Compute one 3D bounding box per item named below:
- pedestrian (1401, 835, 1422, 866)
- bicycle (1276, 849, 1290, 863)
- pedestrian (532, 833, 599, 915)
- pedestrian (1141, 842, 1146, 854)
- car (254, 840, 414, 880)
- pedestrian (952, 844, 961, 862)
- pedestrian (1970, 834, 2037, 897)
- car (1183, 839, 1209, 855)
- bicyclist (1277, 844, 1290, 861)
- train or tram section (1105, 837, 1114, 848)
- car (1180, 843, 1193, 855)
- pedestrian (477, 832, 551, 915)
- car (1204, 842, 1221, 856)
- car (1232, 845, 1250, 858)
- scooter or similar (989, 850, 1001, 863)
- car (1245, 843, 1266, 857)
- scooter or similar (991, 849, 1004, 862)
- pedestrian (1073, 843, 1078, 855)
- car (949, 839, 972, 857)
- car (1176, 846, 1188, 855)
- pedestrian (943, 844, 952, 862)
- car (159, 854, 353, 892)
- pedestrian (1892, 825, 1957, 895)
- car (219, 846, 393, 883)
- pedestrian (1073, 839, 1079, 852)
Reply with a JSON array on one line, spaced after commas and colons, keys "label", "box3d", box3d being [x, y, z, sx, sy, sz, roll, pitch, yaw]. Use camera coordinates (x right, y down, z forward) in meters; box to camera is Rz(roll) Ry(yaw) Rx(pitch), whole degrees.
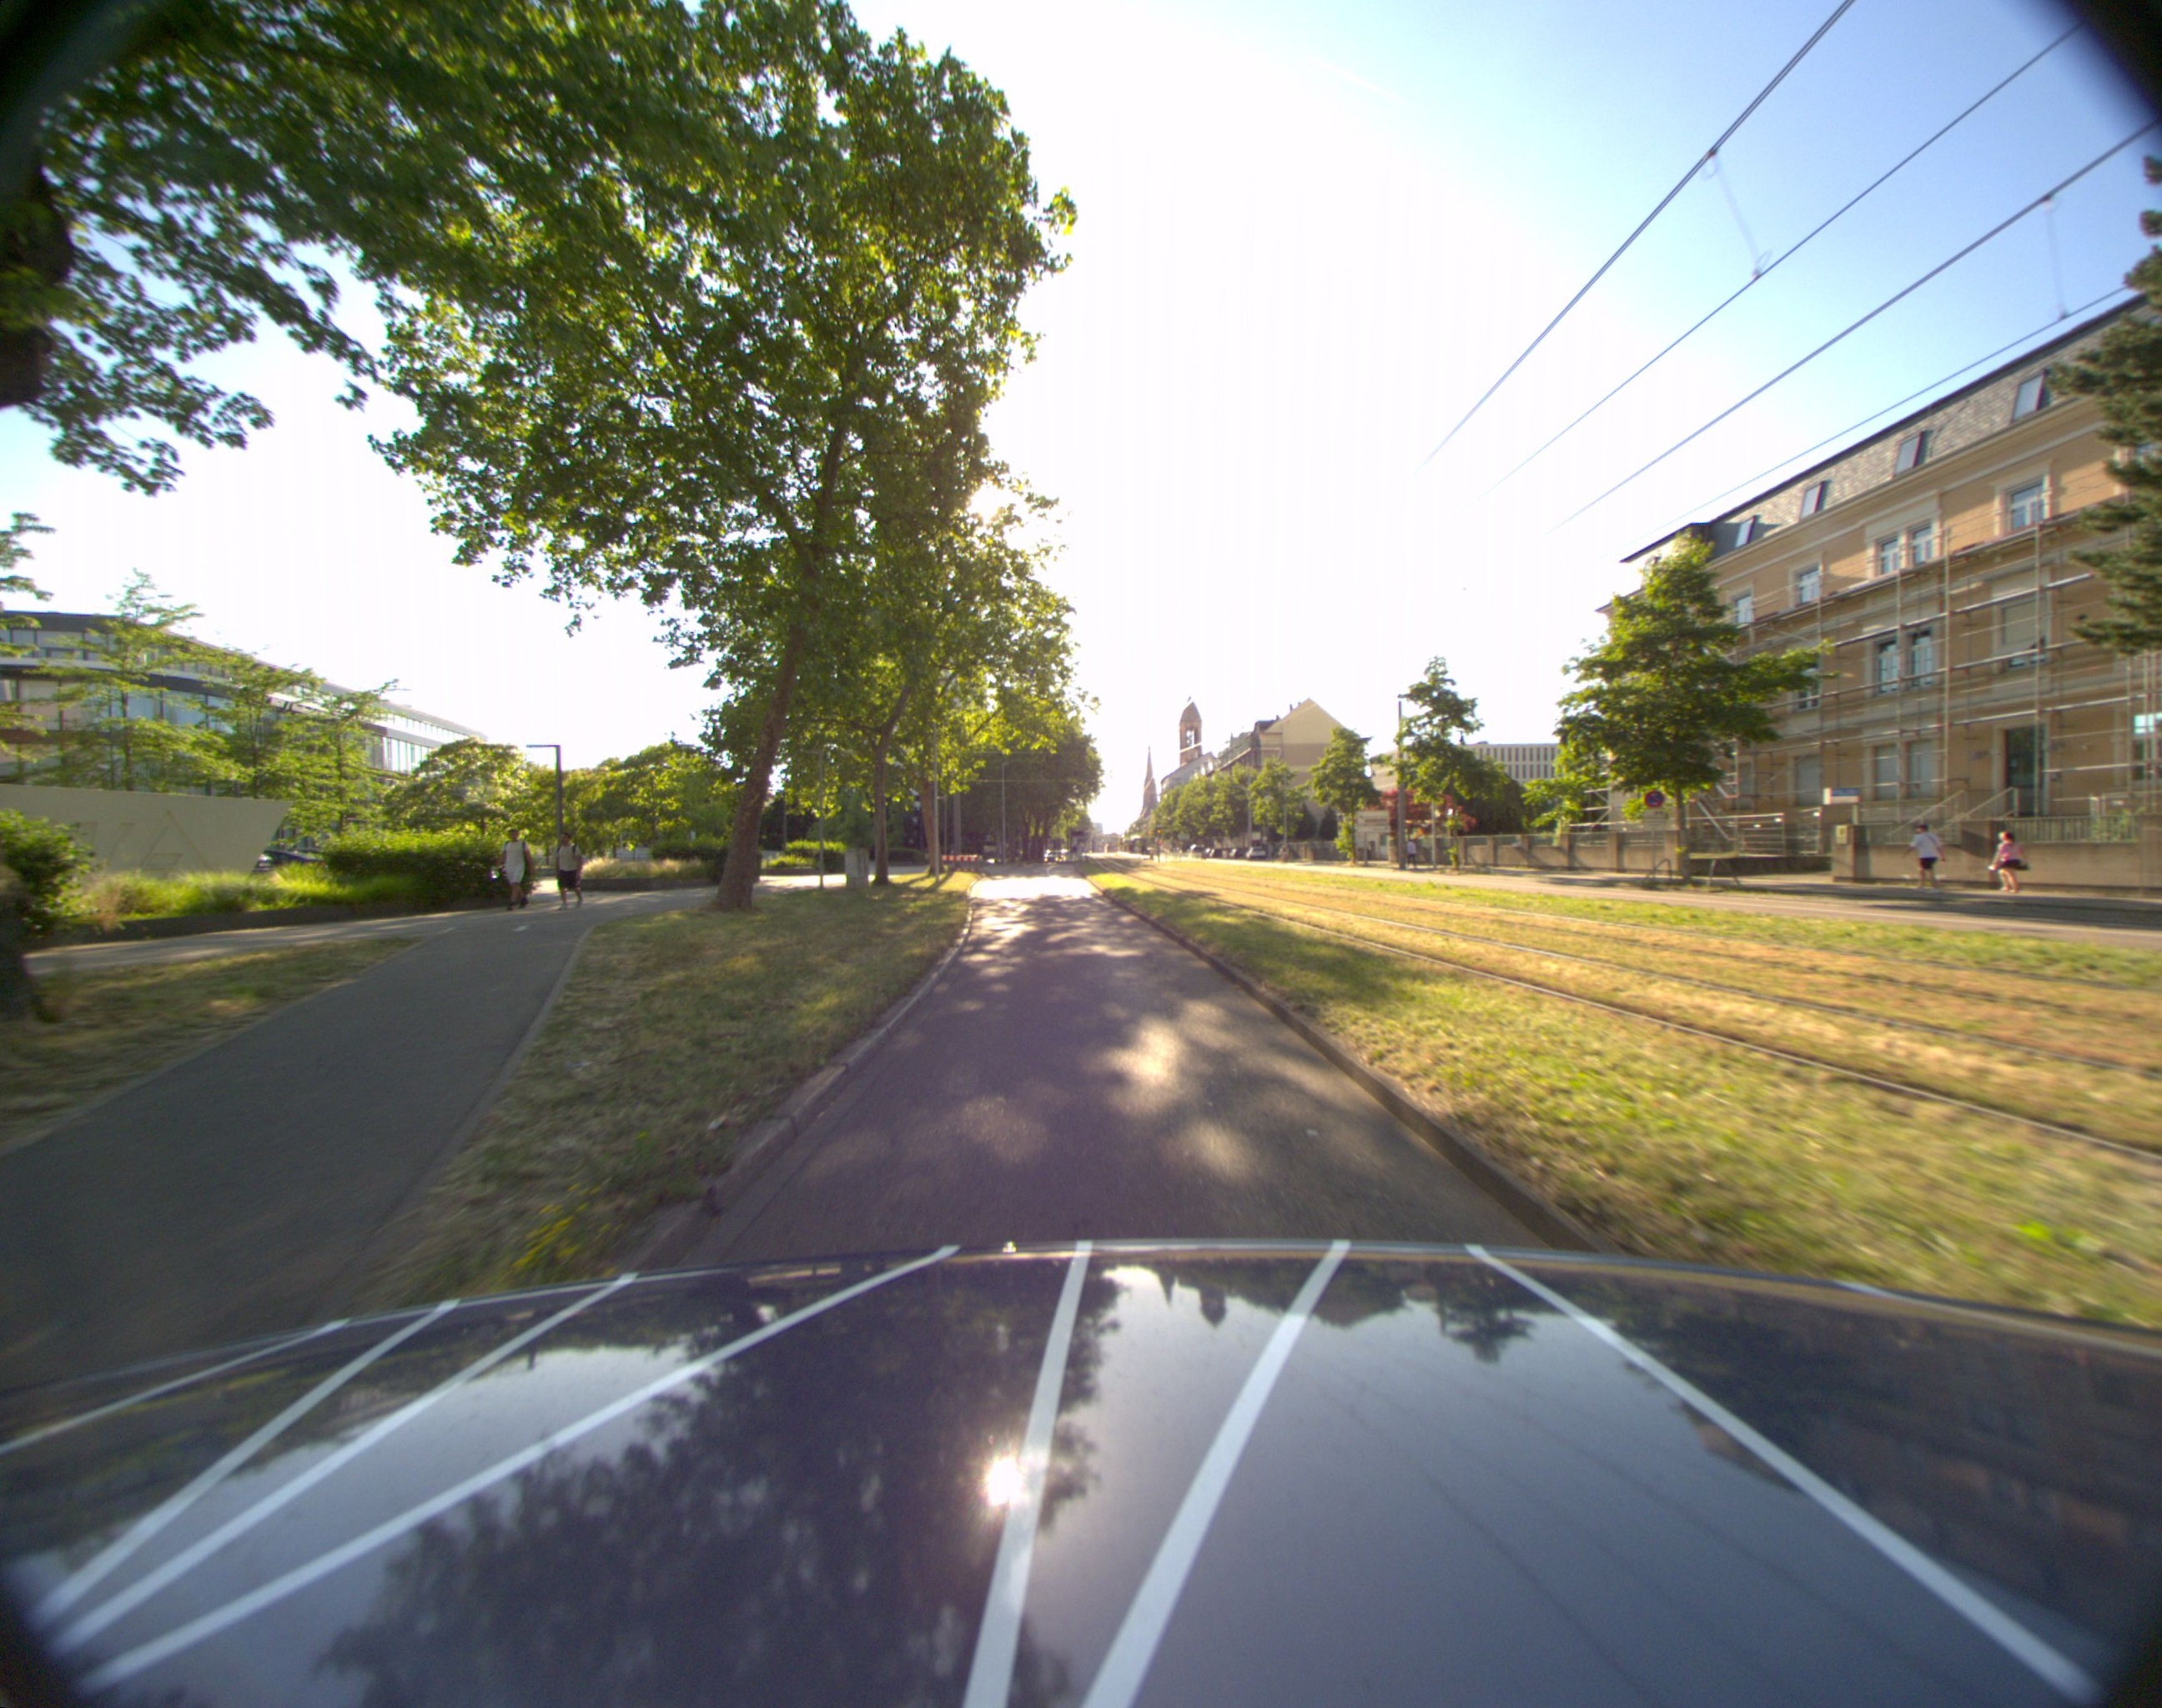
[{"label": "pedestrian", "box3d": [21.192, -0.224, 48.741, 0.860, 1.917, 1.086, 0, 1, -1]}, {"label": "bicycle", "box3d": [18.011, 0.153, 67.729, 0.776, 1.187, 1.755, -3, 1, 0]}, {"label": "pedestrian", "box3d": [-11.563, 0.420, 17.079, 0.752, 1.783, 1.086, 0, 1, 1]}, {"label": "pedestrian", "box3d": [9.399, -0.882, 114.262, 0.681, 1.680, 0.654, -3, 1, -1]}, {"label": "car", "box3d": [-33.322, 0.298, 34.072, 4.690, 1.703, 2.069, 0, 0, -18]}, {"label": "pedestrian", "box3d": [-11.264, -0.080, 68.811, 0.629, 1.647, 0.740, 0, 1, 0]}, {"label": "pedestrian", "box3d": [22.881, 0.269, 18.860, 0.651, 1.531, 0.783, 0, 1, -1]}, {"label": "car", "box3d": [14.706, -0.894, 97.542, 1.945, 1.908, 4.468, -2, 1, -10]}, {"label": "bicyclist", "box3d": [17.992, -0.112, 67.579, 0.776, 1.473, 1.134, -3, 1, 0]}, {"label": "train or tram section", "box3d": [9.702, -3.840, 259.797, 2.877, 3.654, 14.558, -1, 1, 1]}, {"label": "car", "box3d": [20.675, -0.970, 148.535, 1.945, 2.154, 3.784, -3, 1, 0]}, {"label": "pedestrian", "box3d": [-12.635, 0.419, 16.972, 0.807, 1.783, 1.110, 0, 1, 1]}, {"label": "car", "box3d": [20.549, -0.803, 119.101, 1.998, 2.002, 4.000, -3, 1, 2]}, {"label": "car", "box3d": [20.536, -0.321, 97.774, 1.725, 1.577, 4.065, -3, 1, 5]}, {"label": "scooter or similar", "box3d": [-8.015, 0.204, 70.760, 1.054, 1.237, 0.841, 0, 1, 3]}, {"label": "car", "box3d": [20.115, -0.468, 87.532, 1.725, 1.577, 4.065, -3, 1, 5]}, {"label": "scooter or similar", "box3d": [-7.858, 0.123, 71.648, 1.054, 1.237, 0.841, 0, 1, 3]}, {"label": "pedestrian", "box3d": [-0.760, -0.743, 108.437, 0.681, 1.680, 0.894, -3, 1, 1]}, {"label": "car", "box3d": [-18.076, -0.886, 114.453, 1.998, 2.485, 6.346, -3, 1, 3]}, {"label": "car", "box3d": [20.794, -0.749, 156.191, 1.811, 1.626, 3.784, -3, 1, 0]}, {"label": "pedestrian", "box3d": [-12.073, -0.066, 68.828, 0.651, 1.647, 0.783, 0, 1, 0]}, {"label": "car", "box3d": [-31.641, 0.703, 29.323, 4.690, 1.375, 1.971, 0, 0, -18]}, {"label": "pedestrian", "box3d": [21.709, 0.151, 19.568, 0.651, 1.765, 0.888, 0, 1, -1]}, {"label": "car", "box3d": [-32.149, 0.442, 31.712, 4.690, 1.457, 1.960, 0, 0, -18]}, {"label": "pedestrian", "box3d": [-0.699, -1.133, 100.999, 0.758, 1.680, 0.678, -3, 1, 1]}]
